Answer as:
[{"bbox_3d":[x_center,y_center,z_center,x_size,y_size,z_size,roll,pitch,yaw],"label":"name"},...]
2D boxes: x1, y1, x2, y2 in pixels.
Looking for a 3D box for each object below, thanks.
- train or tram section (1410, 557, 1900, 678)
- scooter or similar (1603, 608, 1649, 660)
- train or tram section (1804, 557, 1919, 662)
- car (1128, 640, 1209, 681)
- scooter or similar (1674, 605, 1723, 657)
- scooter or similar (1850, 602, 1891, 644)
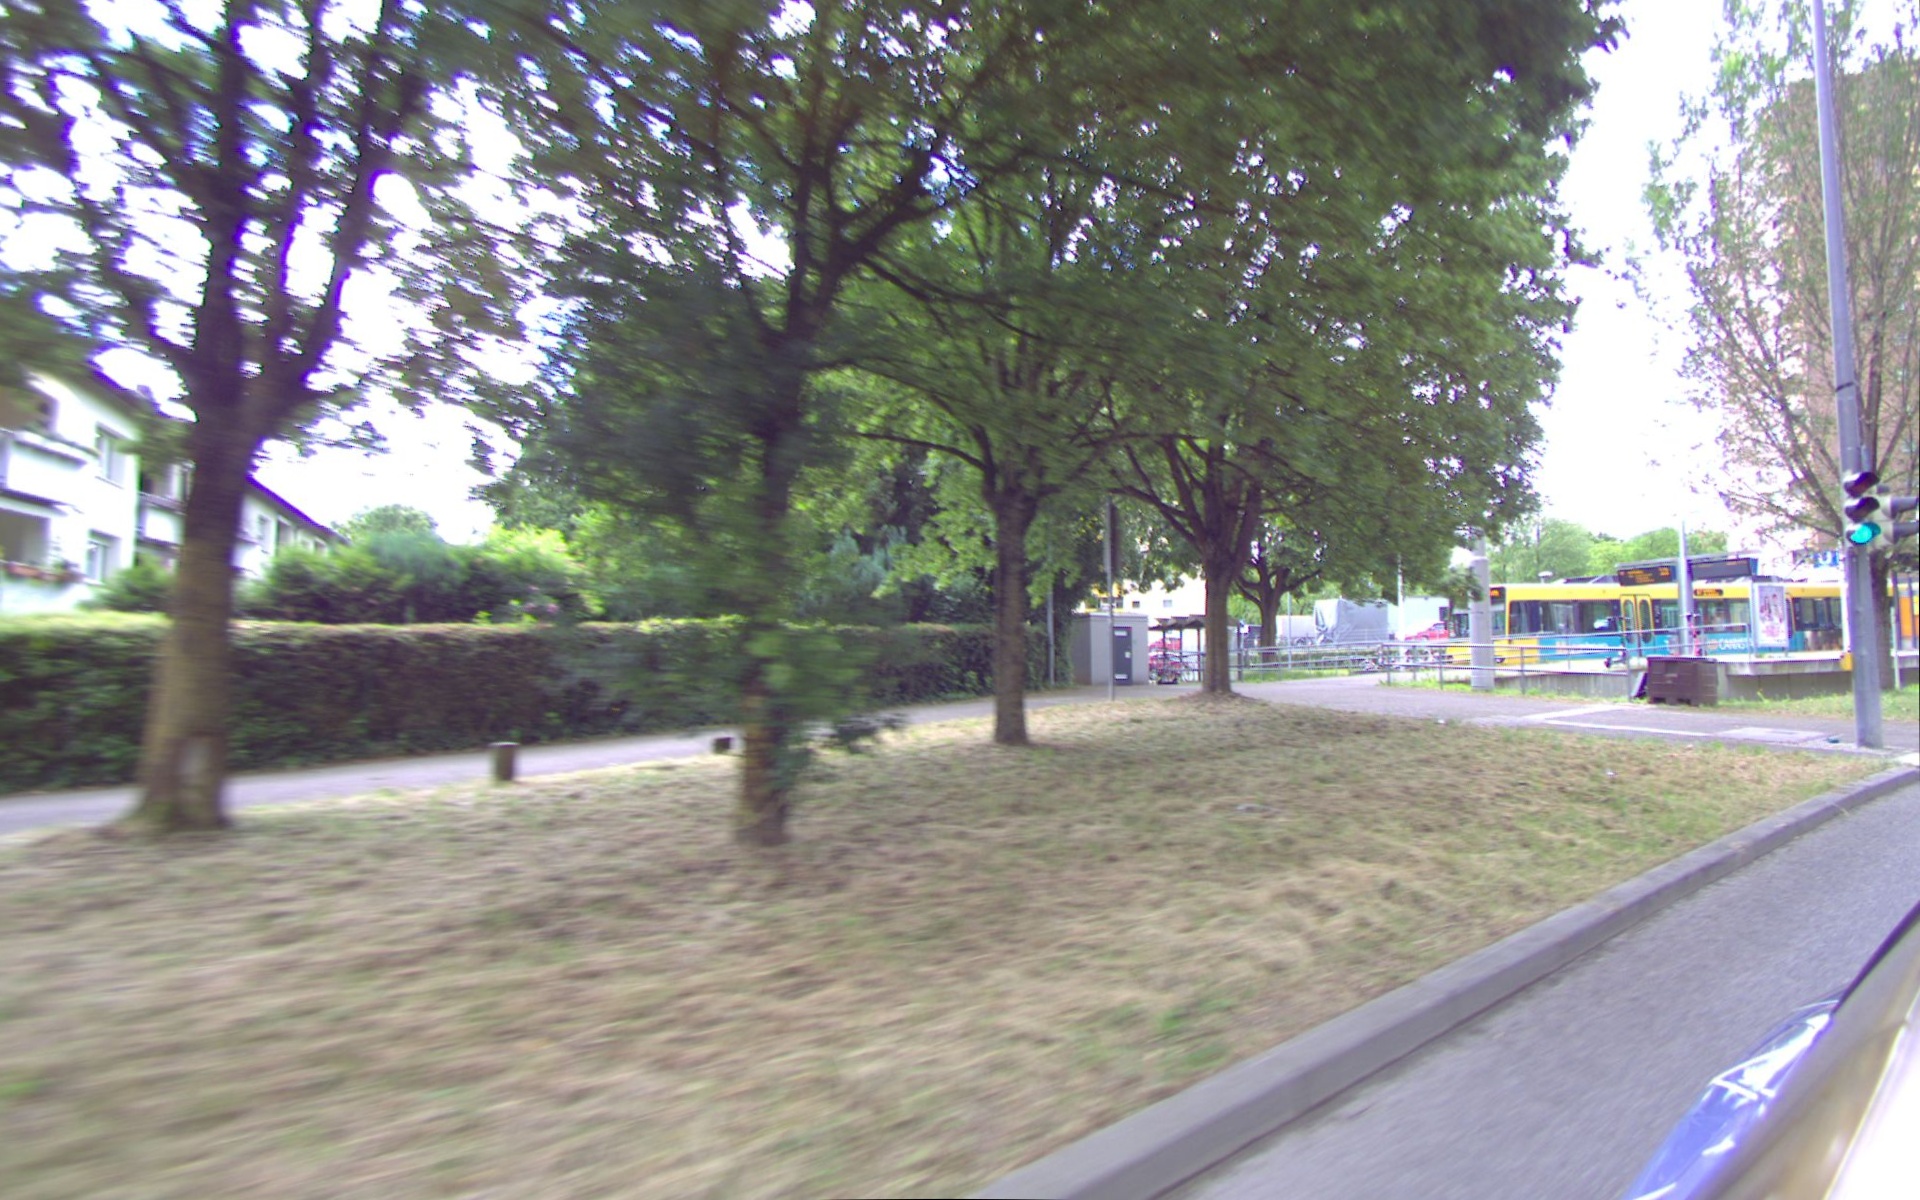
[{"bbox_3d":[24.462,0.542,35.073,19.102,3.637,2.826,-1,-5,-18],"label":"train or tram section"},{"bbox_3d":[16.969,0.859,25.780,1.230,1.269,0.431,-2,-2,-31],"label":"scooter or similar"},{"bbox_3d":[42.671,0.346,41.226,19.102,3.787,2.826,-1,-5,-18],"label":"train or tram section"},{"bbox_3d":[11.459,3.306,55.673,3.916,2.040,1.908,-1,-2,-19],"label":"car"},{"bbox_3d":[18.863,0.788,25.848,1.229,1.269,0.431,-2,-2,-28],"label":"scooter or similar"},{"bbox_3d":[27.924,0.690,31.036,1.122,1.258,0.370,0,-4,-19],"label":"scooter or similar"}]
